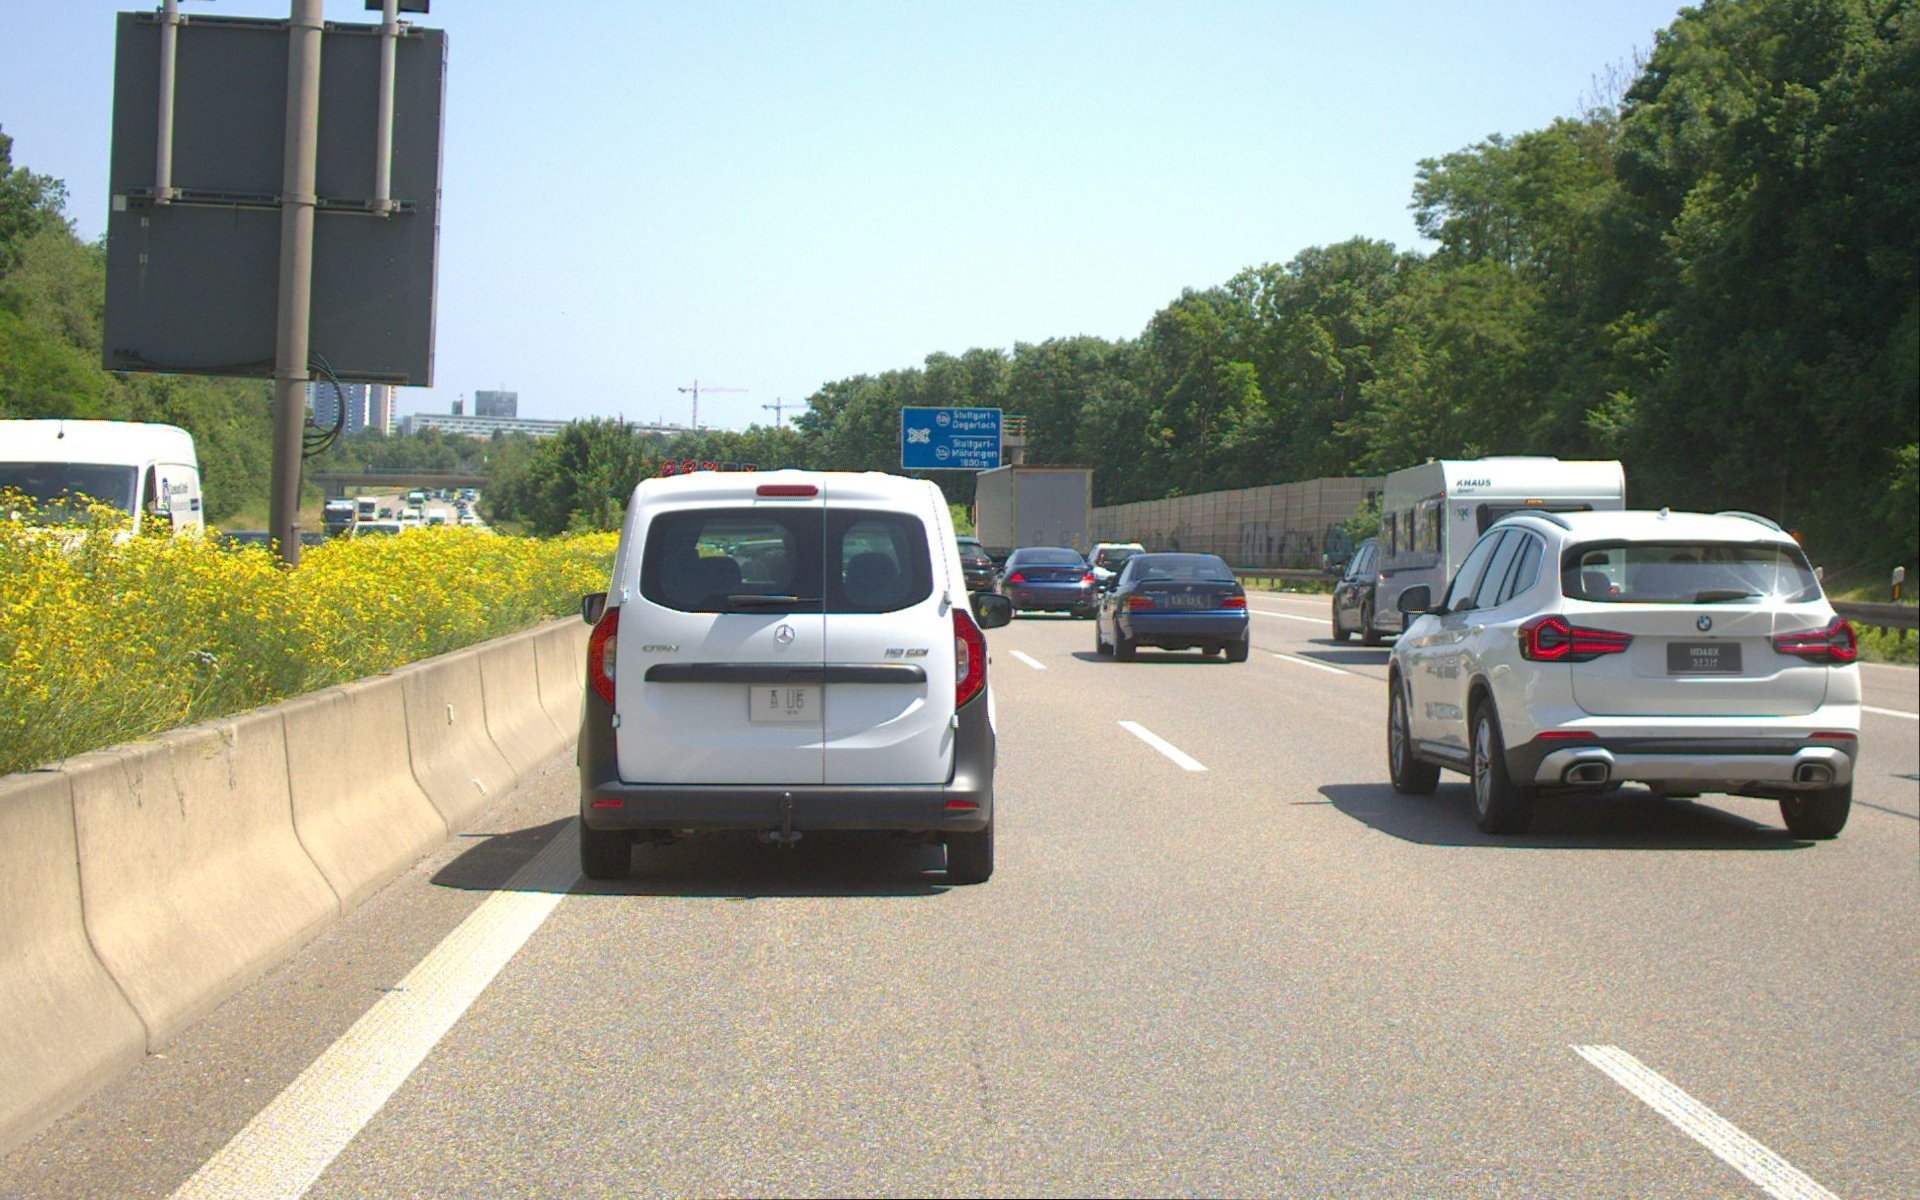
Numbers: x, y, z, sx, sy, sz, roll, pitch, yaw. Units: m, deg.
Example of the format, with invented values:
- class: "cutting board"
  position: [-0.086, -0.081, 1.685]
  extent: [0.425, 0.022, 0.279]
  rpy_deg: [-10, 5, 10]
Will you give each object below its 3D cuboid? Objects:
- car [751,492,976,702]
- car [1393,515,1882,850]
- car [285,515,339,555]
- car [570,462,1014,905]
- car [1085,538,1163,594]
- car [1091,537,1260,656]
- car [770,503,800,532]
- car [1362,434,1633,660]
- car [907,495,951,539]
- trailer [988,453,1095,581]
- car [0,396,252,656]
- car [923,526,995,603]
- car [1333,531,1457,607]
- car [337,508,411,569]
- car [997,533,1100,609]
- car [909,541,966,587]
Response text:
- class: "car"
  position: [-0.898, -0.069, 32.832]
  extent: [1.993, 1.853, 4.000]
  rpy_deg: [1, 1, -1]
- class: "car"
  position: [3.539, 0.365, 18.666]
  extent: [1.871, 1.603, 3.879]
  rpy_deg: [1, 1, 0]
- class: "car"
  position: [-28.950, -2.919, 153.763]
  extent: [1.993, 1.755, 4.001]
  rpy_deg: [1, 1, -5]
- class: "car"
  position: [-0.747, 0.304, 16.174]
  extent: [1.802, 1.802, 4.000]
  rpy_deg: [1, 1, -2]
- class: "car"
  position: [4.352, -0.917, 91.670]
  extent: [1.824, 1.419, 4.000]
  rpy_deg: [1, 1, -1]
- class: "car"
  position: [2.710, -0.085, 43.949]
  extent: [1.824, 1.419, 4.000]
  rpy_deg: [1, 1, -1]
- class: "car"
  position: [-12.792, -6.030, 251.445]
  extent: [1.993, 2.007, 4.000]
  rpy_deg: [1, 1, -1]
- class: "car"
  position: [7.017, -0.721, 45.640]
  extent: [2.479, 2.756, 6.220]
  rpy_deg: [1, 1, -1]
- class: "car"
  position: [-1.446, -3.824, 158.233]
  extent: [1.993, 2.007, 4.000]
  rpy_deg: [1, 1, -1]
- class: "trailer"
  position: [2.610, -2.721, 113.616]
  extent: [3.082, 3.972, 10.324]
  rpy_deg: [1, 1, -1]
- class: "car"
  position: [-9.151, -0.792, 36.773]
  extent: [1.993, 2.533, 5.909]
  rpy_deg: [1, 1, -1]
- class: "car"
  position: [-0.052, -0.961, 91.097]
  extent: [1.824, 1.982, 4.000]
  rpy_deg: [1, 1, -1]
- class: "car"
  position: [8.483, -0.631, 67.315]
  extent: [1.824, 1.419, 4.000]
  rpy_deg: [1, 1, -1]
- class: "car"
  position: [-20.086, -2.110, 117.932]
  extent: [1.993, 2.007, 4.001]
  rpy_deg: [1, 1, -3]
- class: "car"
  position: [1.691, -0.587, 67.068]
  extent: [1.824, 1.419, 4.000]
  rpy_deg: [1, 1, -1]
- class: "car"
  position: [-0.756, -1.187, 112.707]
  extent: [1.824, 1.442, 4.000]
  rpy_deg: [1, 1, -1]
